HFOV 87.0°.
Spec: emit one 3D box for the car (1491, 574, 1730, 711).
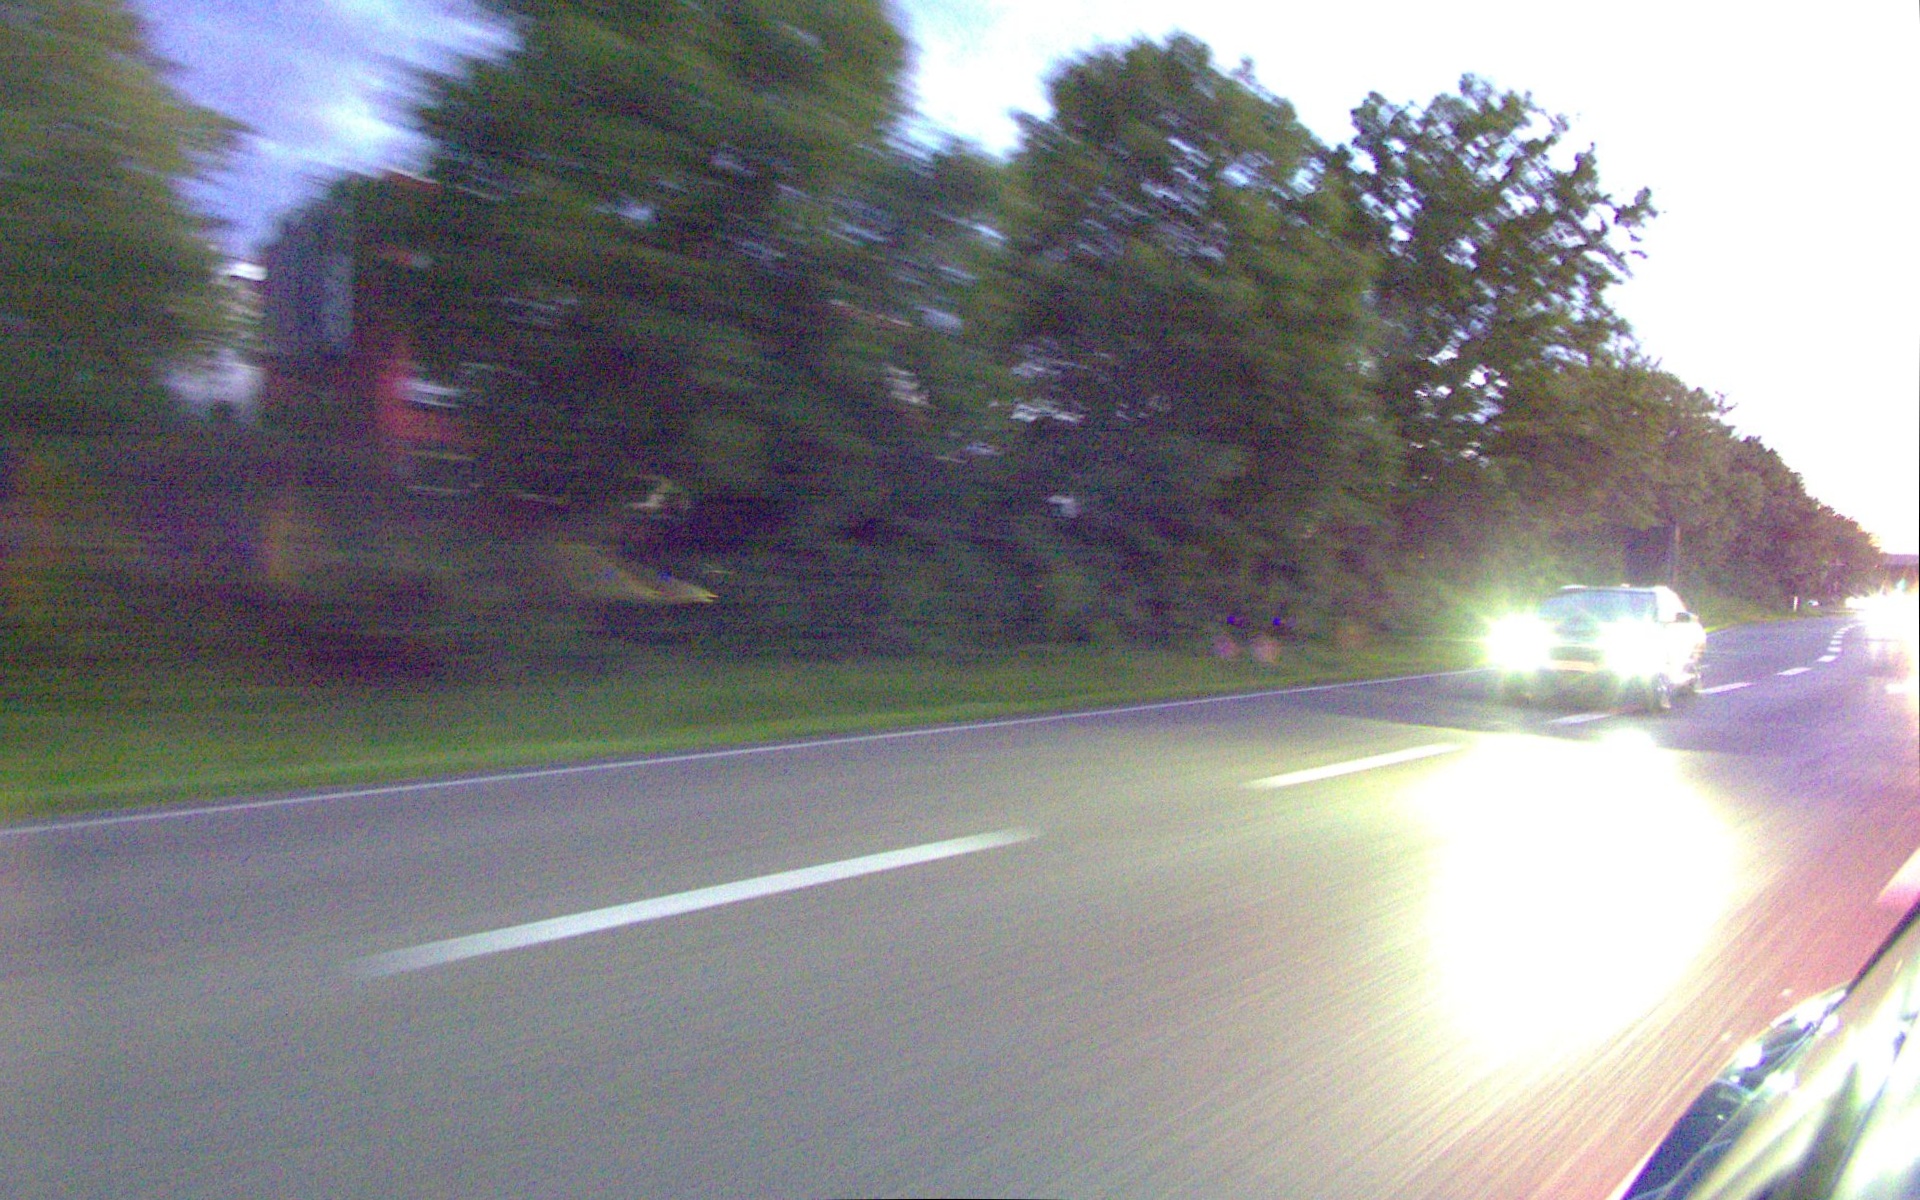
[{"bbox_3d":[9.350,0.485,14.369,1.994,1.629,4.636,1,1,44],"label":"car"}]
